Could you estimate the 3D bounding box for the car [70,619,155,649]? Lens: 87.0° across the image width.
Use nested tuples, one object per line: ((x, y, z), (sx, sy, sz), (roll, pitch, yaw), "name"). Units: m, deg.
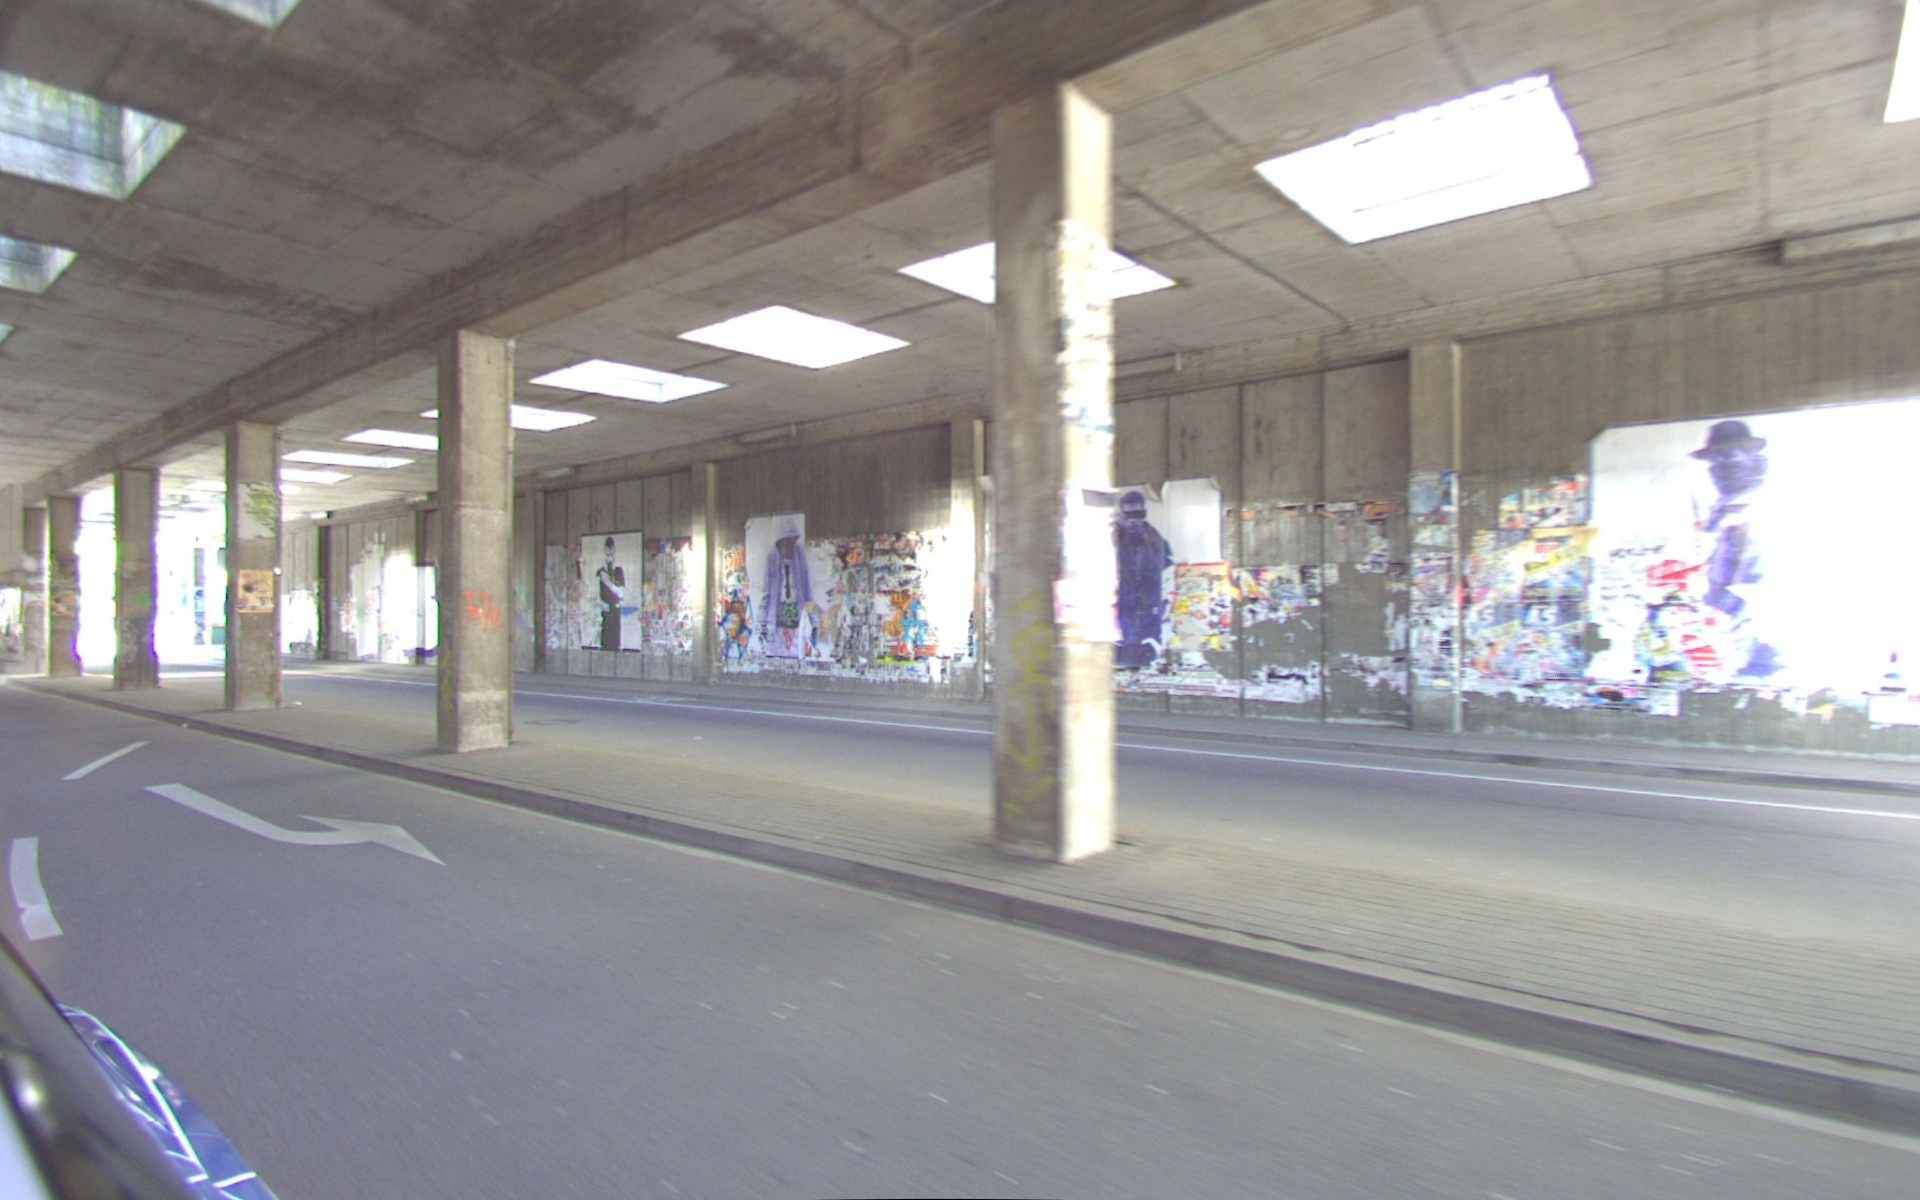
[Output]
((-55.156, 2.191, 65.934), (1.808, 1.866, 3.950), (-1, -2, 37), "car")
